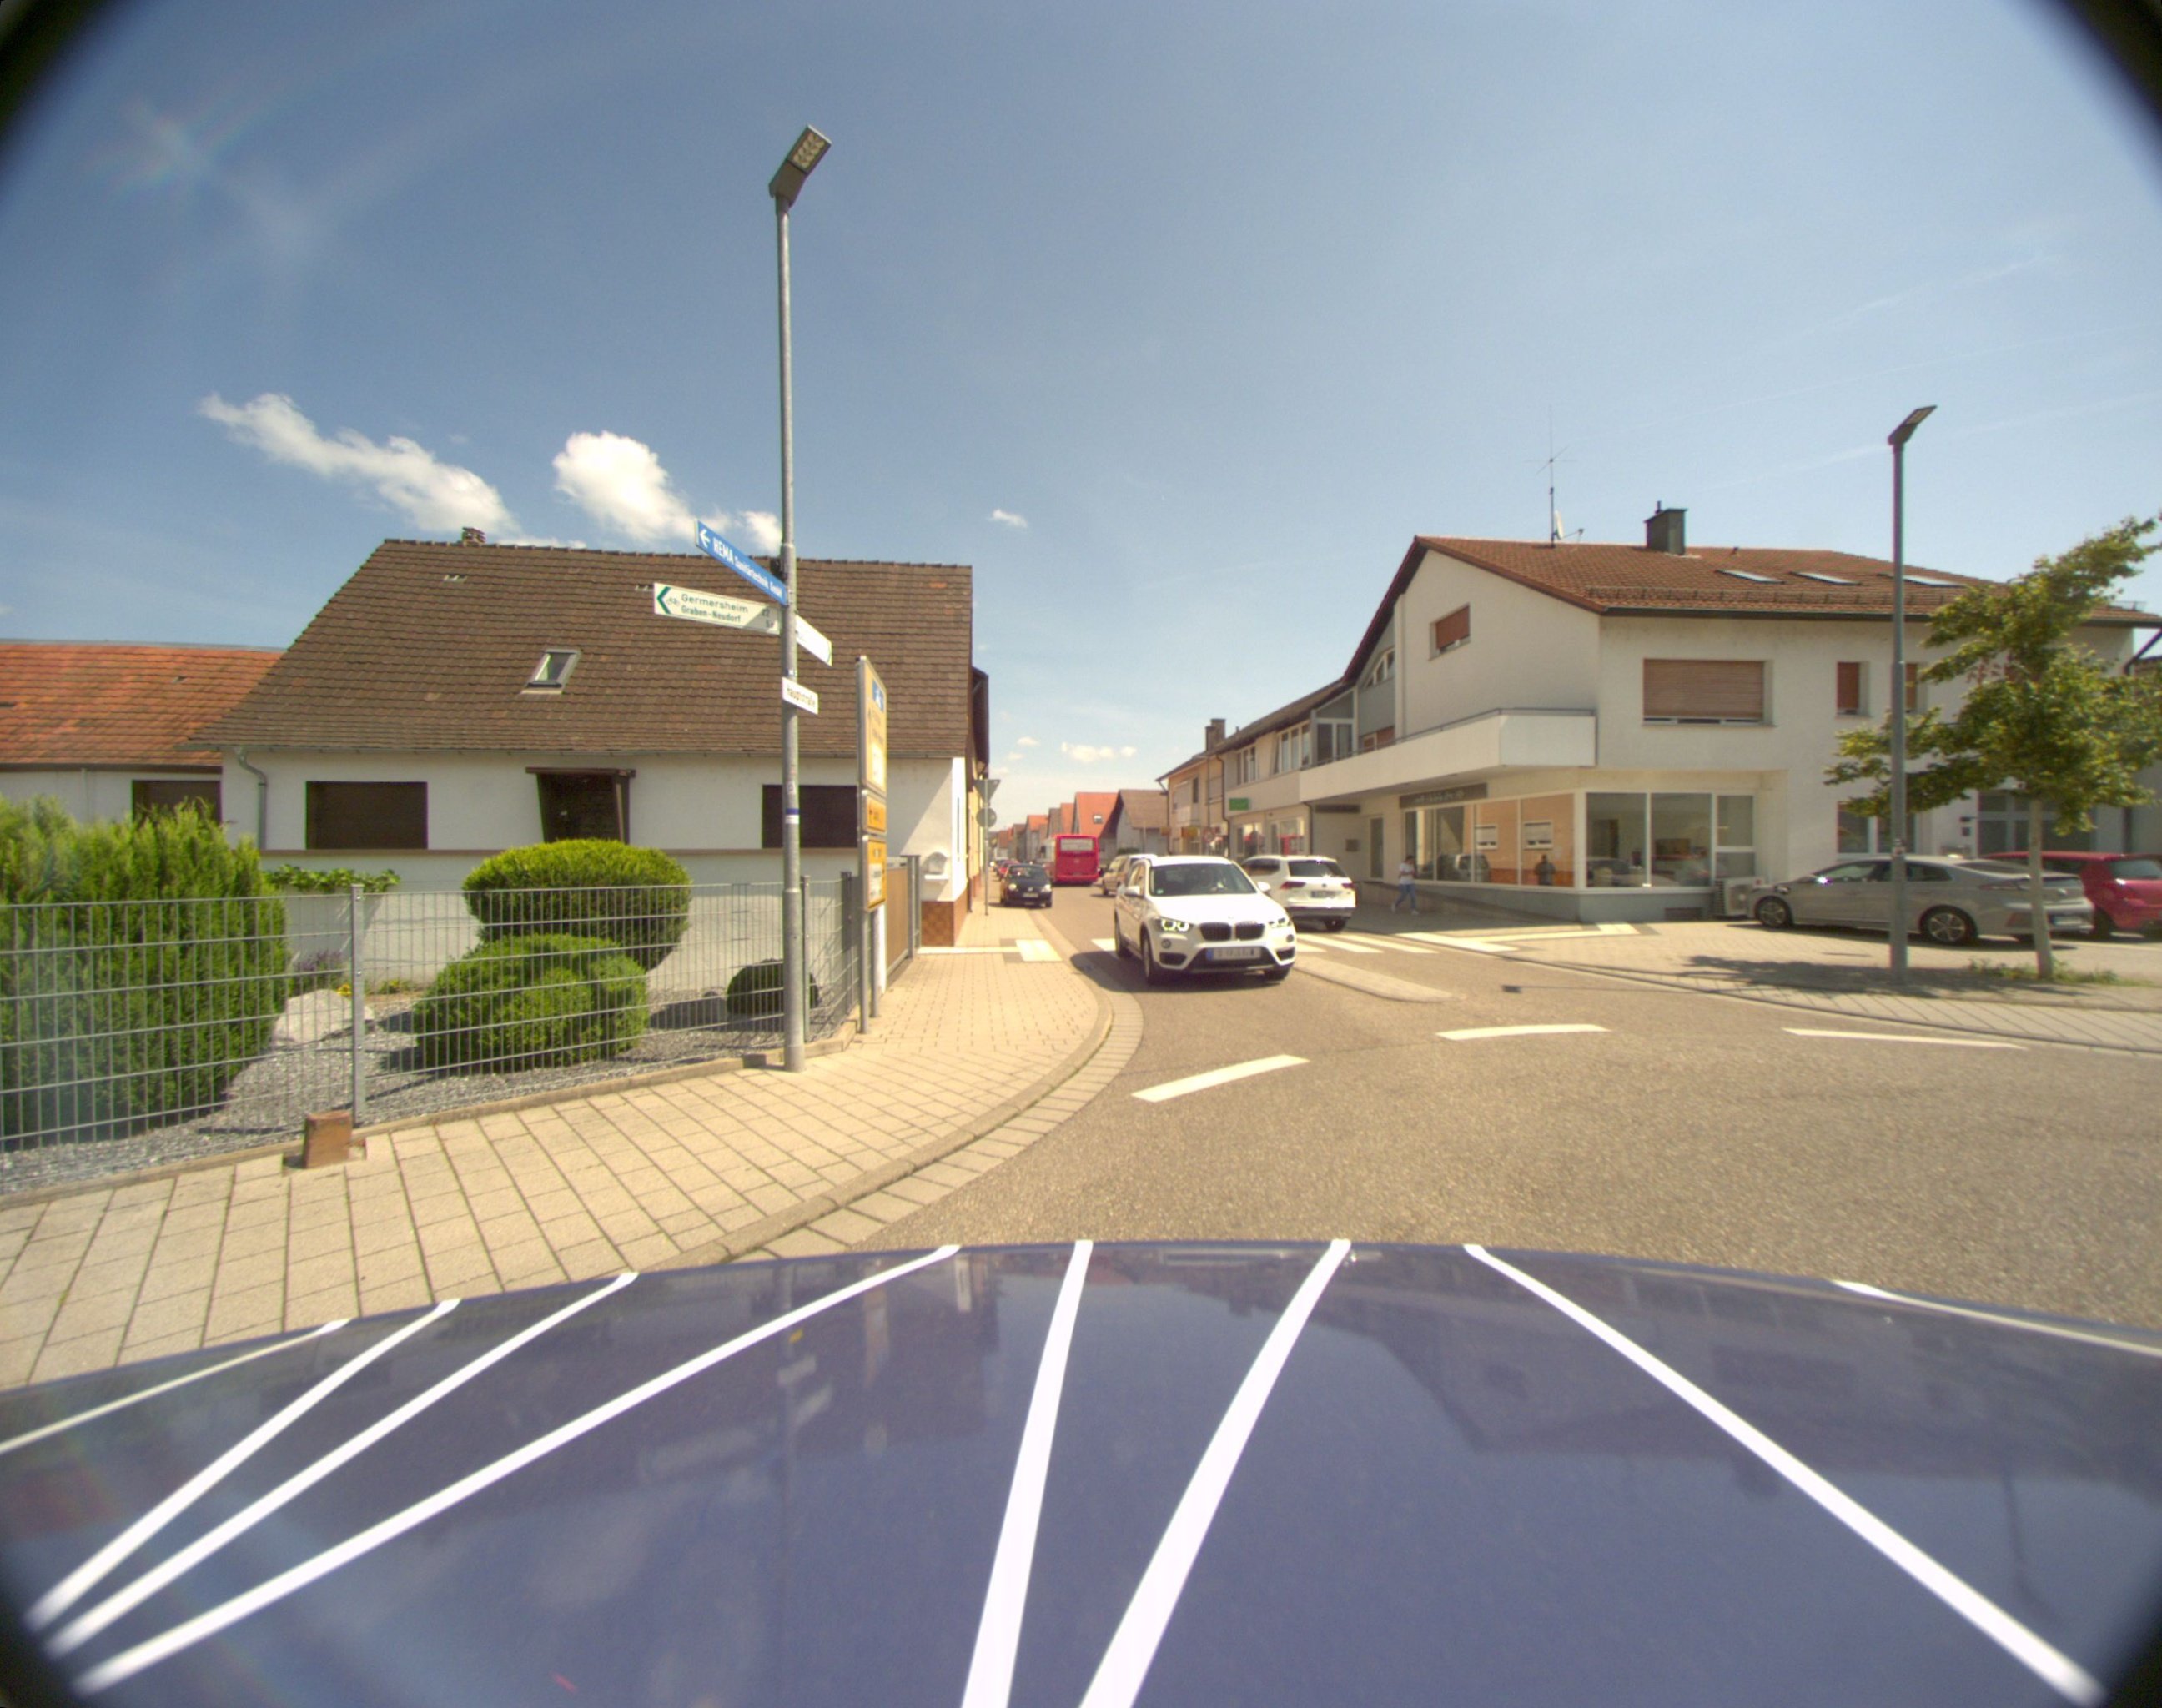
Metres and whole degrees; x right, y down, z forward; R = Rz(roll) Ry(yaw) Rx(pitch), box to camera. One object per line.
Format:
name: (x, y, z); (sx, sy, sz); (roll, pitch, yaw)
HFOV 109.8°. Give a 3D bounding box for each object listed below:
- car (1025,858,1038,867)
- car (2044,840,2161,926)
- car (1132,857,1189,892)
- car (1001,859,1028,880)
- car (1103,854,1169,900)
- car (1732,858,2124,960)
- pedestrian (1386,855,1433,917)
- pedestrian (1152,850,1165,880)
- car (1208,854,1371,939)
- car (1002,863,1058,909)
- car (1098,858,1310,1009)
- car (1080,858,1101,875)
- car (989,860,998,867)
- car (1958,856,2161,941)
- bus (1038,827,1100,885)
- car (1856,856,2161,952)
car: (-8.321, 1.404, 127.371); (1.766, 1.420, 3.849); (0, 0, -10)
car: (22.880, 0.578, 14.797); (1.987, 1.729, 4.745); (-1, 1, -7)
car: (3.864, 0.964, 37.519); (1.749, 1.507, 3.997); (-4, 1, -8)
car: (-4.798, 1.073, 54.238); (1.765, 1.420, 4.186); (0, 0, -7)
car: (2.286, 0.927, 32.656); (1.778, 1.810, 4.438); (1, 0, -10)
car: (14.794, 0.840, 13.758); (1.836, 1.442, 4.475); (-1, 1, -7)
pedestrian: (8.820, 0.842, 20.416); (0.757, 1.574, 0.956); (-2, 1, -5)
pedestrian: (4.748, 0.682, 46.551); (0.579, 1.780, 0.693); (-2, 1, -7)
car: (4.691, 0.886, 17.859); (1.872, 1.700, 4.538); (2, 0, -10)
car: (-1.811, 1.052, 26.248); (1.691, 1.454, 3.627); (2, -1, -7)
car: (1.475, 0.920, 10.893); (1.846, 1.636, 4.372); (-2, 0, -6)
car: (0.803, 1.039, 65.827); (1.458, 1.362, 3.382); (-3, 0, -6)
car: (-19.020, 2.042, 164.561); (1.766, 1.420, 3.849); (0, 0, -10)
car: (19.920, 0.797, 14.109); (1.836, 1.442, 4.475); (-1, 1, -7)
bus: (-0.999, 0.128, 49.048); (2.635, 3.213, 12.014); (1, 0, -7)
car: (17.422, 0.794, 14.126); (1.753, 1.468, 3.961); (-1, 1, -7)
